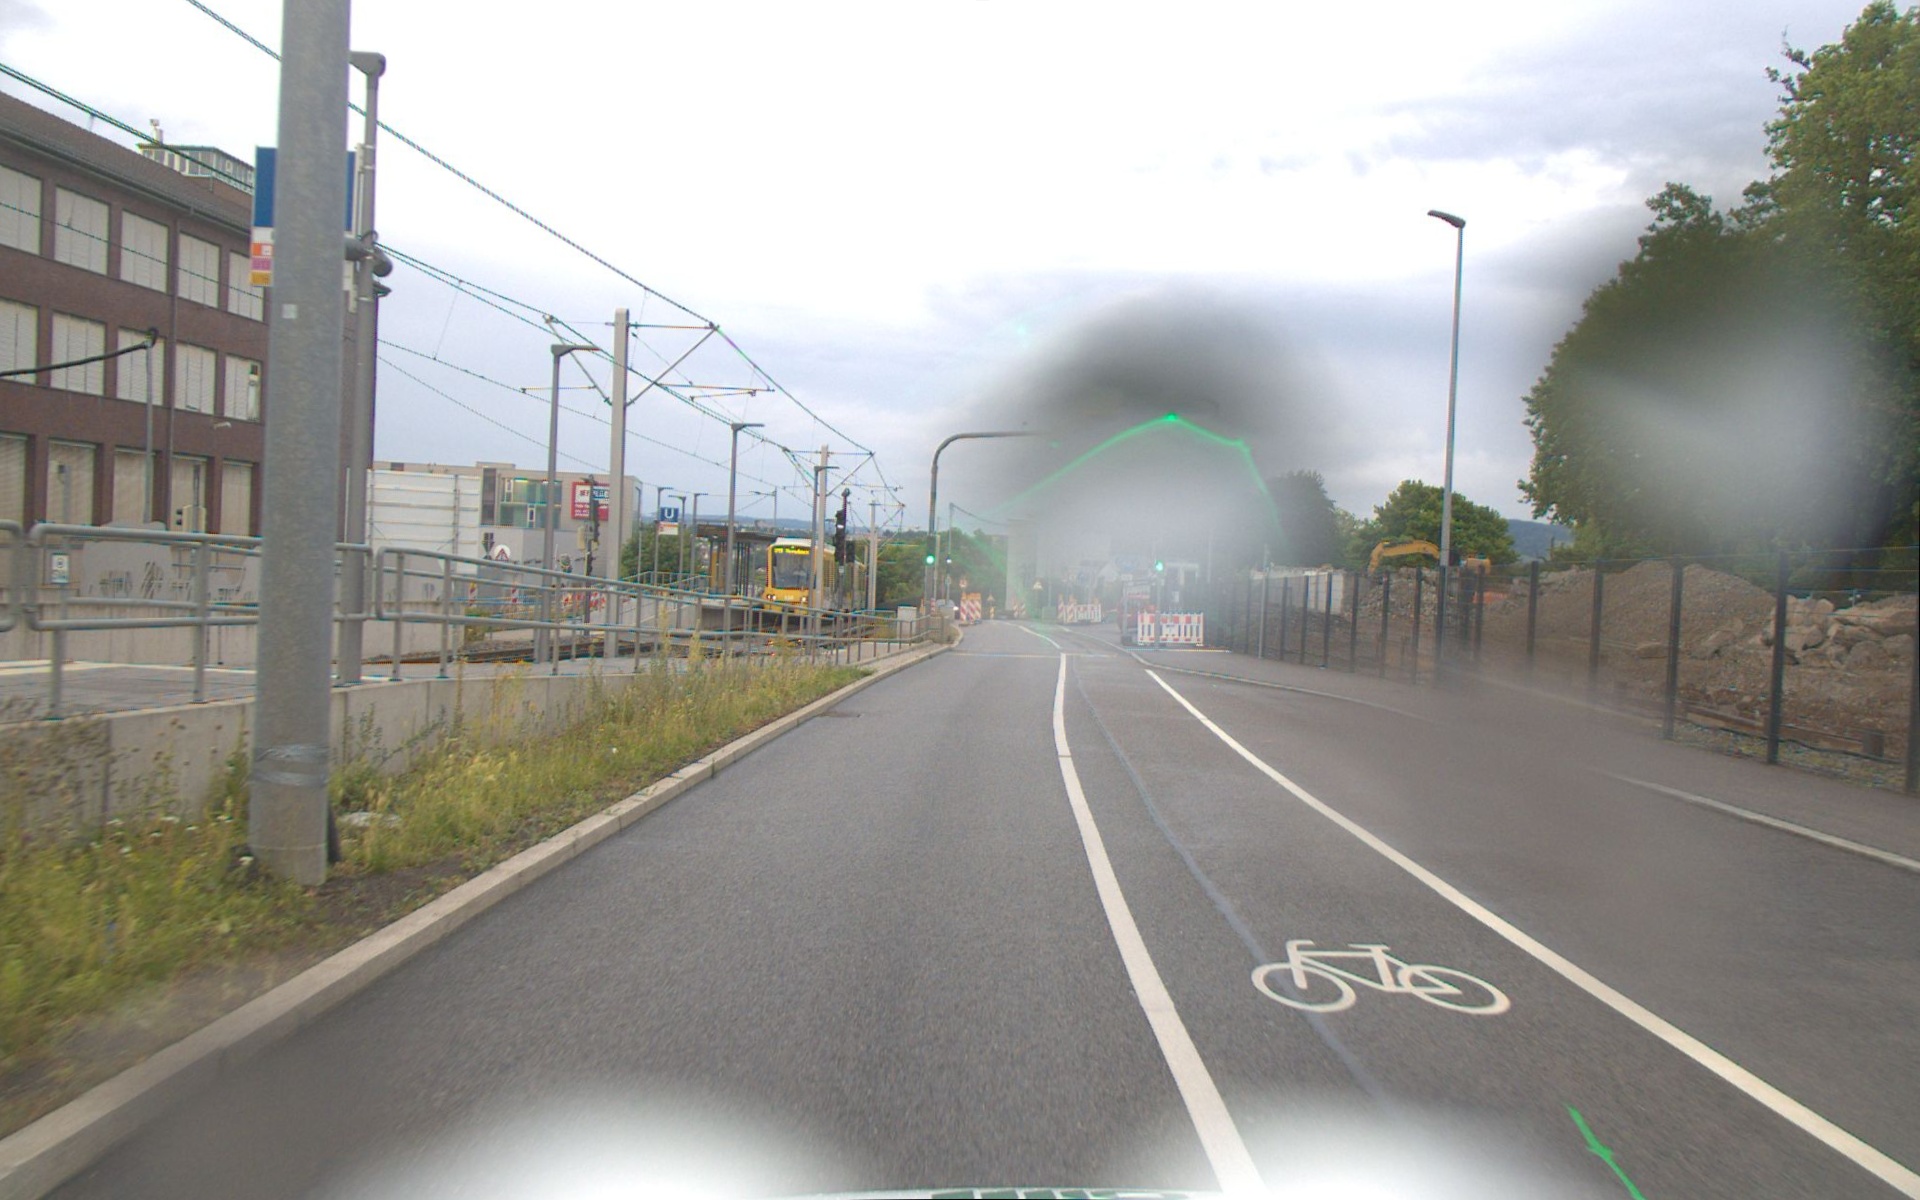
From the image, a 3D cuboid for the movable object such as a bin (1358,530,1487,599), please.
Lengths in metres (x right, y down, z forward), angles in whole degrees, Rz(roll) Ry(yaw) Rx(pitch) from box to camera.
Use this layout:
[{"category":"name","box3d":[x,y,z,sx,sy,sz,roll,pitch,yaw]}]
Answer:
[{"category":"movable object such as a bin","box3d":[42.666,-3.238,152.892,10.992,6.100,3.494,1,0,8]}]

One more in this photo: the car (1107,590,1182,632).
[{"category":"car","box3d":[8.526,0.492,76.249,1.786,1.825,4.399,2,0,31]}]

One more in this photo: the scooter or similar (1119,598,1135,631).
[{"category":"scooter or similar","box3d":[7.142,0.619,70.717,0.602,1.375,1.913,2,0,6]}]

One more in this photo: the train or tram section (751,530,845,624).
[{"category":"train or tram section","box3d":[-7.714,-1.034,81.450,2.895,3.953,19.568,3,0,-1]}]
